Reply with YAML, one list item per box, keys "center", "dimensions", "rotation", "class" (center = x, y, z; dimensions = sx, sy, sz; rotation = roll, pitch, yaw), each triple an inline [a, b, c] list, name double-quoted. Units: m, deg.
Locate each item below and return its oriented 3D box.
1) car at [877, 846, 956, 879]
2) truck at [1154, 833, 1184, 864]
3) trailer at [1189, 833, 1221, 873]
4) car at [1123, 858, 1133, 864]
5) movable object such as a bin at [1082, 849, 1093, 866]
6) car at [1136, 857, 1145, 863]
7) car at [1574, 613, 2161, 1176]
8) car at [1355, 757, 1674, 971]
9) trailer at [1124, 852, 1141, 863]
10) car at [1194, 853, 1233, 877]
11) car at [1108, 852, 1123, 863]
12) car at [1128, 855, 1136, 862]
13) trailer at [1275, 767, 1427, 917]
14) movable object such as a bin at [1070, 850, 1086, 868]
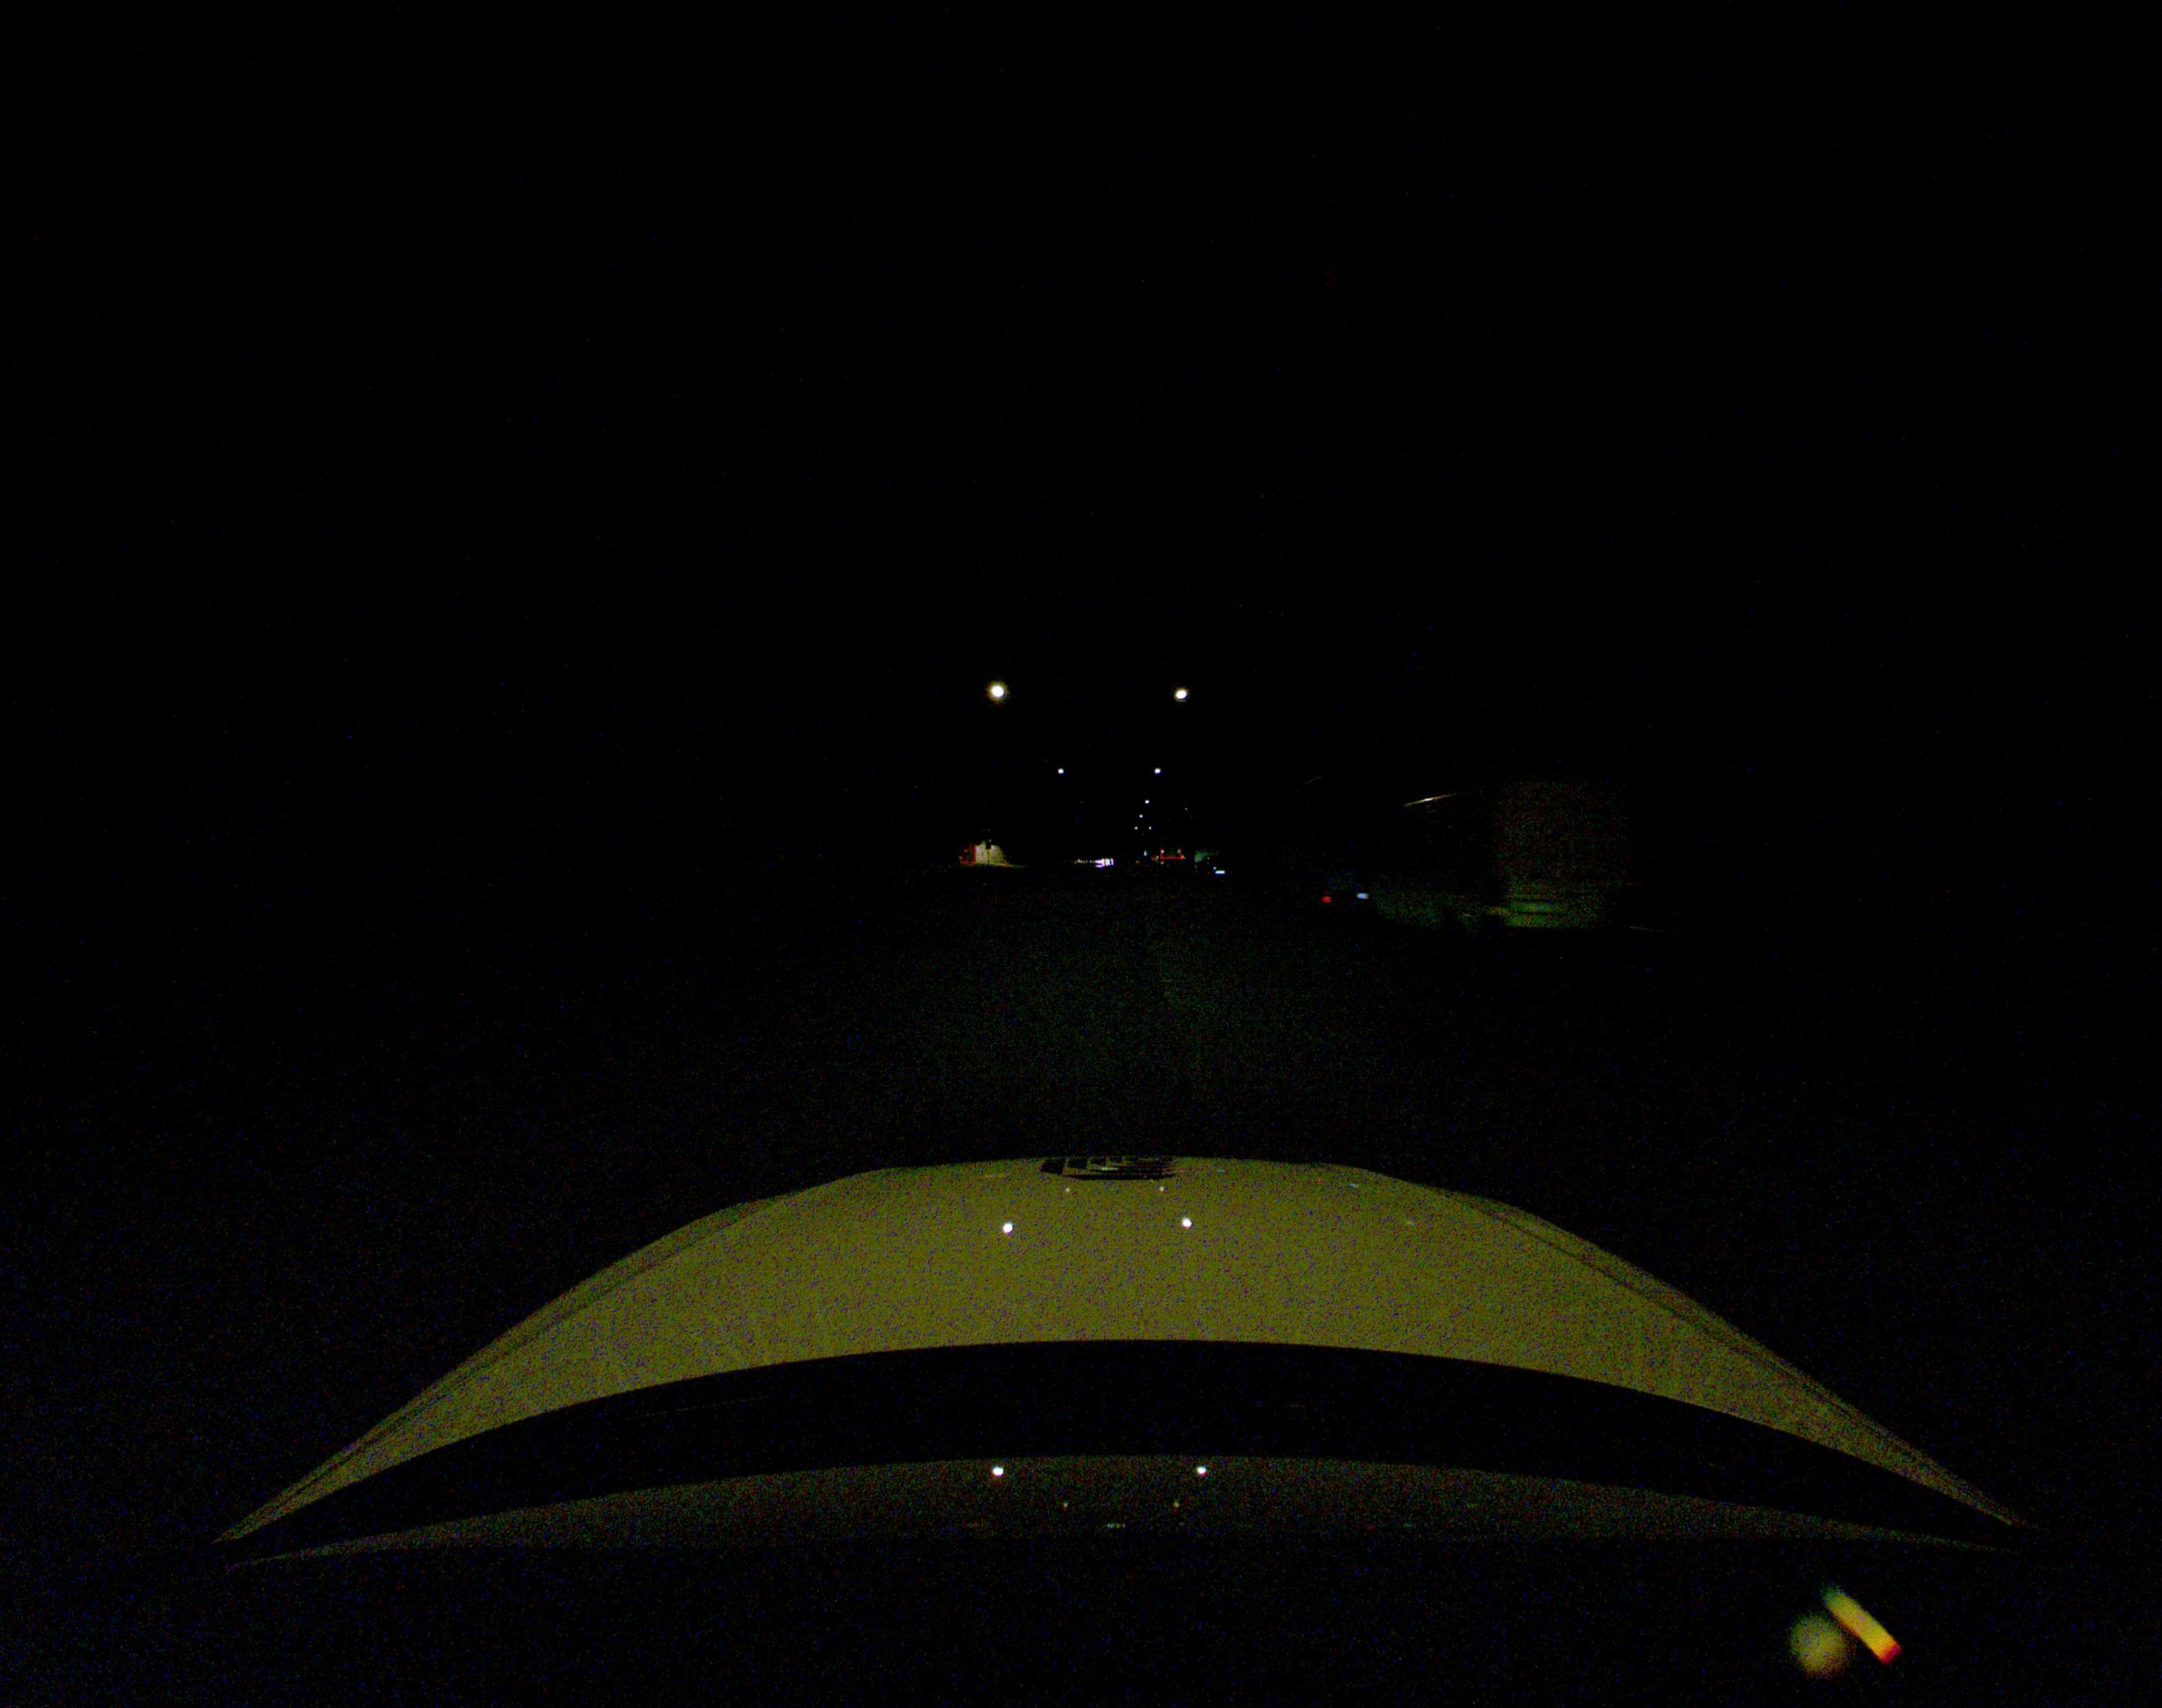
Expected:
- center: [-10.142, 0.520, 50.416]
  dimensions: [4.414, 1.972, 2.001]
  rotation: [0, 0, 2]
  class: "car"
- center: [11.165, -0.634, 103.893]
  dimensions: [3.310, 3.868, 9.335]
  rotation: [0, -1, 3]
  class: "truck"
- center: [8.417, -0.055, 55.497]
  dimensions: [1.983, 2.651, 4.007]
  rotation: [0, 0, 6]
  class: "trailer"
- center: [14.408, 2.181, 248.715]
  dimensions: [1.977, 1.700, 4.225]
  rotation: [-1, -2, 18]
  class: "car"
- center: [1.130, 0.607, 142.043]
  dimensions: [1.567, 2.734, 3.696]
  rotation: [-4, 0, -3]
  class: "movable object such as a bin"
- center: [16.412, 1.678, 225.054]
  dimensions: [1.707, 1.821, 4.018]
  rotation: [-1, -2, 19]
  class: "car"
- center: [5.929, 0.179, 5.245]
  dimensions: [1.986, 2.548, 6.027]
  rotation: [0, 0, 1]
  class: "car"
- center: [6.278, 0.114, 13.033]
  dimensions: [1.932, 2.548, 6.652]
  rotation: [0, 0, 4]
  class: "car"
- center: [11.424, 0.802, 181.570]
  dimensions: [1.566, 2.161, 5.179]
  rotation: [-2, -2, -24]
  class: "trailer"
- center: [8.007, 0.618, 49.573]
  dimensions: [1.720, 1.386, 4.678]
  rotation: [0, 0, 2]
  class: "car"
- center: [9.954, 1.024, 233.214]
  dimensions: [2.499, 3.171, 7.169]
  rotation: [-3, -1, 17]
  class: "car"
- center: [12.274, 1.107, 196.280]
  dimensions: [1.713, 1.661, 4.004]
  rotation: [0, -2, 4]
  class: "car"
- center: [6.532, -0.274, 20.310]
  dimensions: [2.390, 3.325, 4.362]
  rotation: [0, 0, 0]
  class: "trailer"
- center: [-0.505, 0.769, 121.563]
  dimensions: [1.552, 2.467, 2.823]
  rotation: [-2, -1, -17]
  class: "movable object such as a bin"
